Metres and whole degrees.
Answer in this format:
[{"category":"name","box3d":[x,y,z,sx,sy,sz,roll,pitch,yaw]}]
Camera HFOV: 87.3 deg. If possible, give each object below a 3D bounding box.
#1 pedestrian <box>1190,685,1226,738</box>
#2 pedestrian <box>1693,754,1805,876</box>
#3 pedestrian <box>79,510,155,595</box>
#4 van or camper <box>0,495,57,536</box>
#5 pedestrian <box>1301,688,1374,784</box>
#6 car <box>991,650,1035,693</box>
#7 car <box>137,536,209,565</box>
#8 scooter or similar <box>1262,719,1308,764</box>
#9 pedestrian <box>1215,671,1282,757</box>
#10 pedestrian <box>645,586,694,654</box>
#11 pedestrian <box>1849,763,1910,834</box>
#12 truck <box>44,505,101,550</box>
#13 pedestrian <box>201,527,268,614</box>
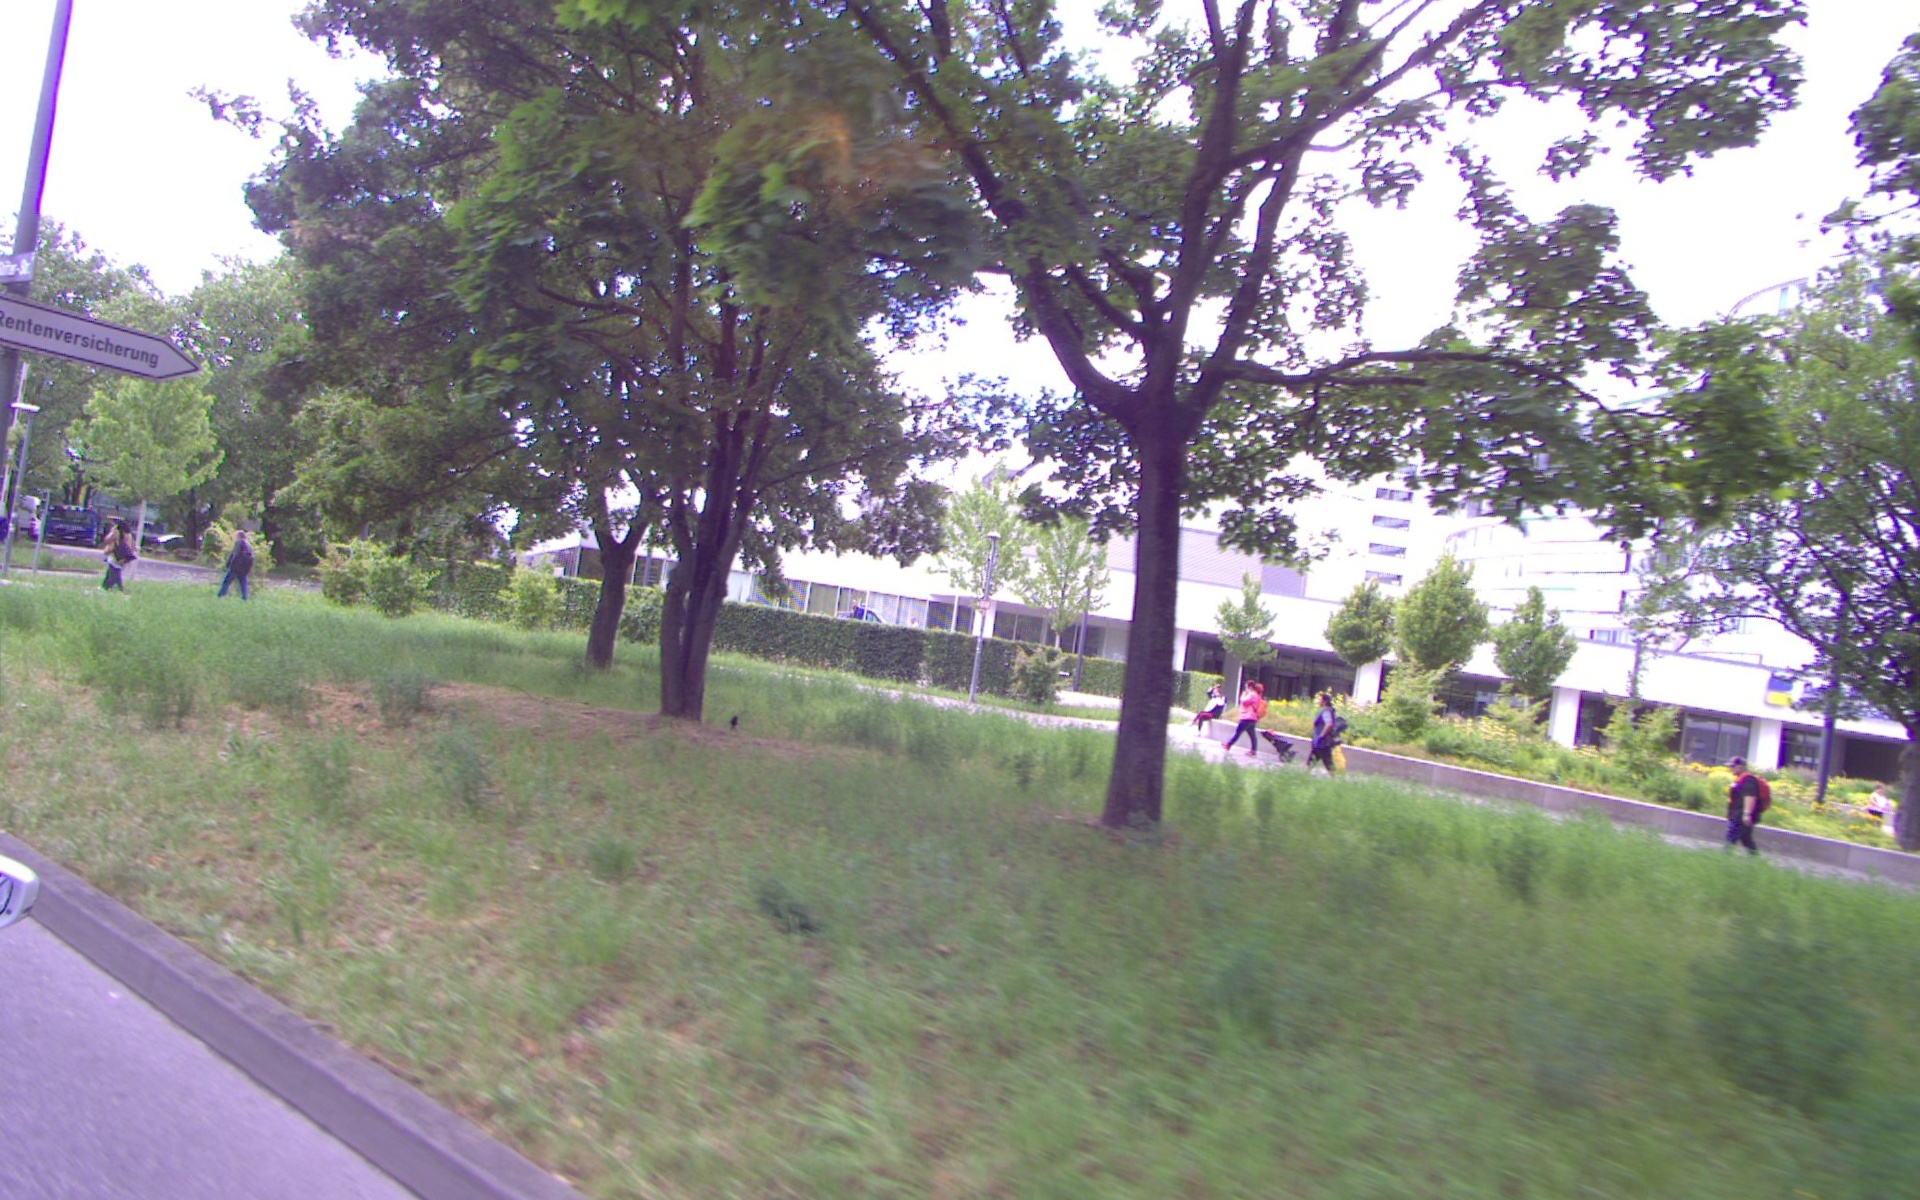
[{"category":"pedestrian","box3d":[5.974,2.672,24.236,0.594,1.174,0.649,8,-2,3]},{"category":"pedestrian","box3d":[11.237,3.037,14.368,0.966,1.468,0.761,8,-1,27]},{"category":"pedestrian","box3d":[-18.859,-1.052,22.512,0.807,1.742,0.778,8,-1,14]},{"category":"van or camper","box3d":[-54.646,-5.006,57.073,4.640,1.937,1.758,9,-1,-30]},{"category":"pedestrian","box3d":[6.541,2.338,17.446,0.965,1.468,0.880,9,-1,21]},{"category":"car","box3d":[2.148,2.842,40.362,1.481,1.438,3.108,9,-2,5]},{"category":"car","box3d":[-60.721,-3.811,77.693,1.742,1.518,3.930,8,-1,31]},{"category":"scooter or similar","box3d":[6.628,2.885,20.509,0.662,0.790,0.635,6,-3,35]},{"category":"pedestrian","box3d":[5.990,2.369,20.865,0.916,1.625,0.955,6,-2,33]},{"category":"pedestrian","box3d":[-6.813,0.476,23.615,0.685,1.468,0.835,9,-1,0]},{"category":"pedestrian","box3d":[28.753,6.195,31.478,0.884,1.961,0.883,8,0,12]},{"category":"truck","box3d":[-56.315,-4.615,63.926,2.319,2.321,5.829,10,-3,-40]},{"category":"pedestrian","box3d":[-15.851,-0.646,21.986,0.810,1.742,0.775,8,-1,35]}]
